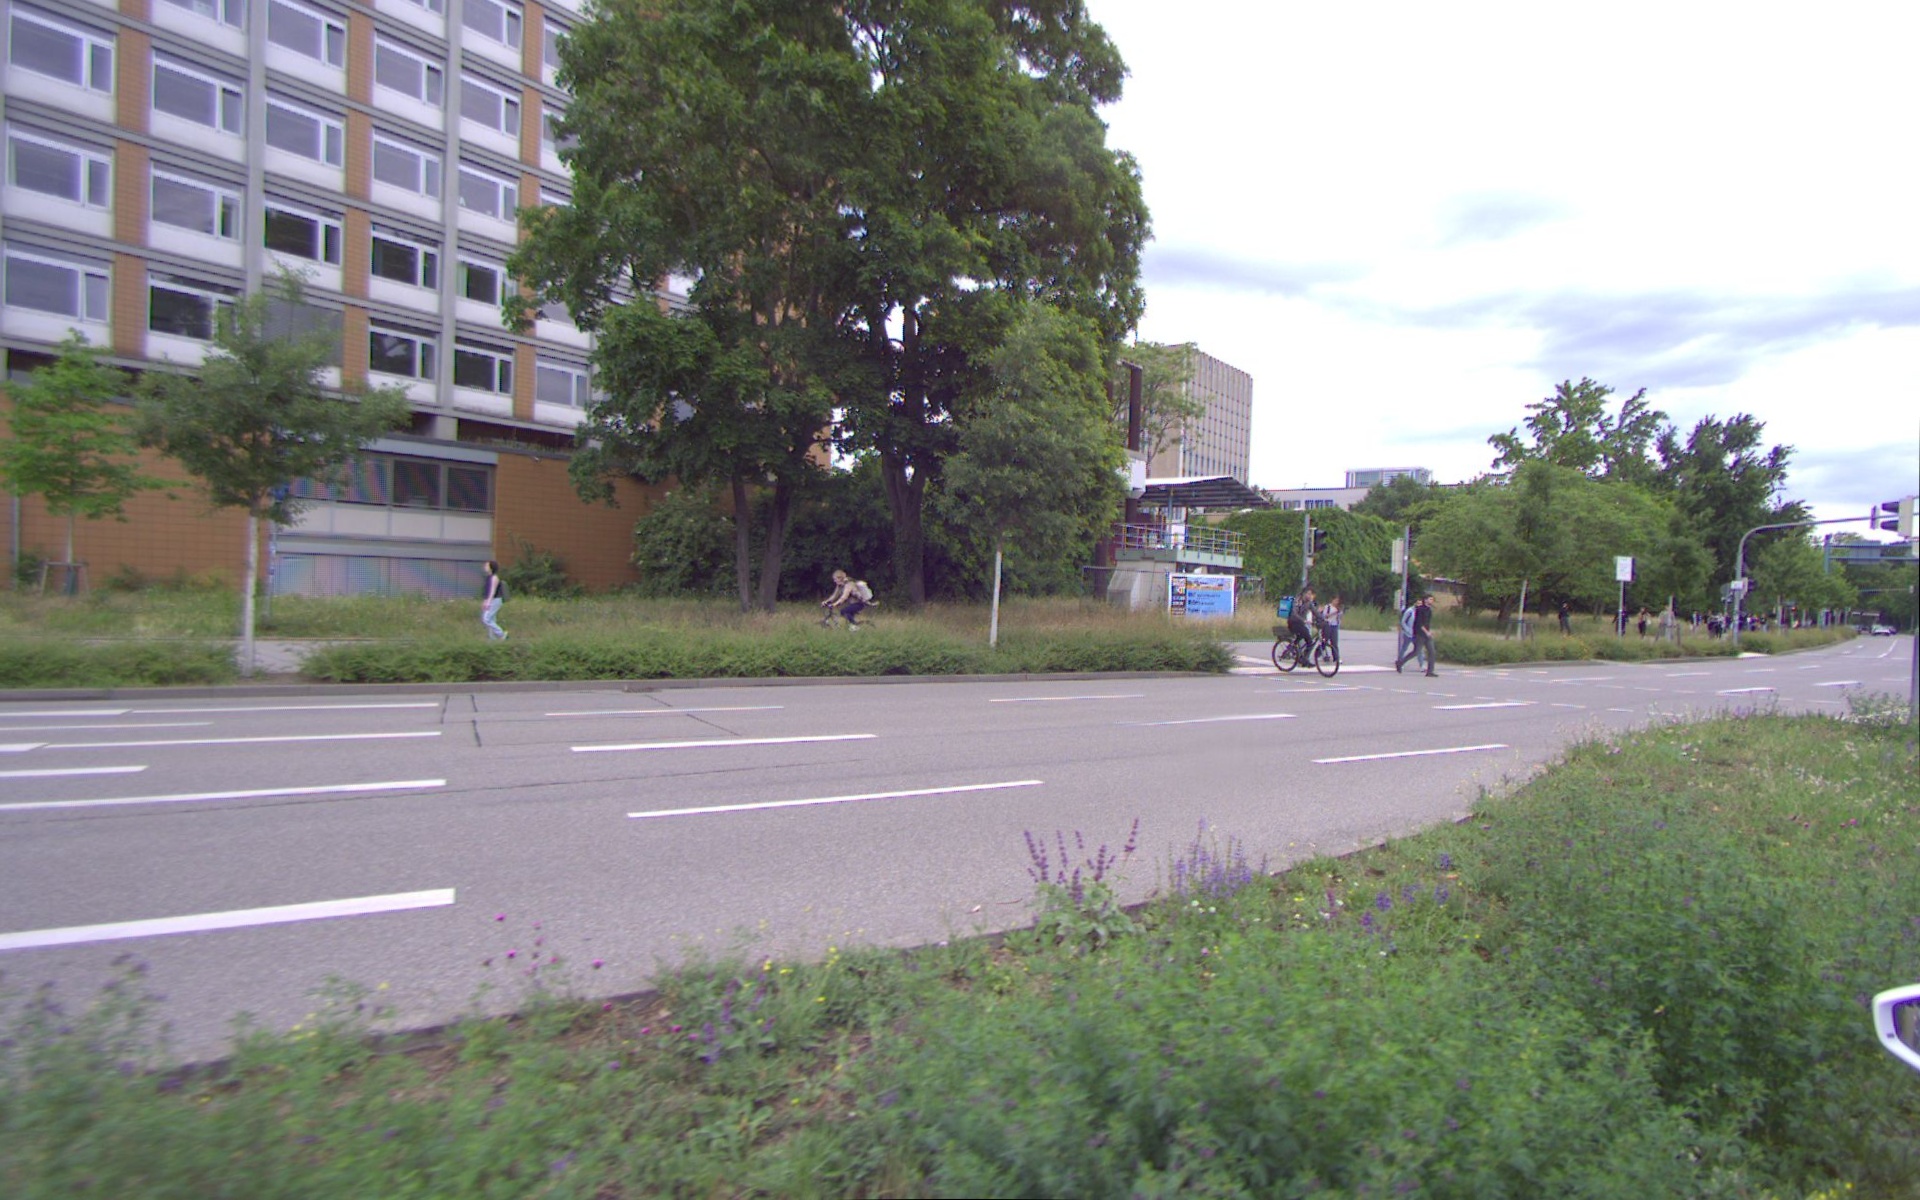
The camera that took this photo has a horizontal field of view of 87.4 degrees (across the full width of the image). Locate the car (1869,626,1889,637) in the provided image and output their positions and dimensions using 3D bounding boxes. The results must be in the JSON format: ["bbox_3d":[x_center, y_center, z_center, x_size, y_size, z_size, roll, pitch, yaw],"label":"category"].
[{"bbox_3d":[131.403,4.514,143.656,1.665,1.435,3.630,2,1,36],"label":"car"}]

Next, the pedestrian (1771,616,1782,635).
[{"bbox_3d":[86.798,2.723,106.756,0.776,2.040,0.716,2,1,-40],"label":"pedestrian"}]

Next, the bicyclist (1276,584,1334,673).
[{"bbox_3d":[7.444,0.602,21.700,0.782,1.869,0.828,1,1,-27],"label":"bicyclist"}]

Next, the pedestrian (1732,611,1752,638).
[{"bbox_3d":[53.111,1.663,68.226,0.909,1.803,1.057,2,1,45],"label":"pedestrian"}]

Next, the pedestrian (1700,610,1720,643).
[{"bbox_3d":[43.159,1.521,57.799,0.751,1.895,0.707,1,1,-41],"label":"pedestrian"}]

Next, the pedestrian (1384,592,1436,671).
[{"bbox_3d":[10.916,0.757,24.400,0.659,1.867,0.889,1,1,-28],"label":"pedestrian"}]

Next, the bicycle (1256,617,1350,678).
[{"bbox_3d":[7.409,1.006,21.770,0.781,1.174,1.893,1,1,-27],"label":"bicycle"}]

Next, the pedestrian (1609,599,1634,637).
[{"bbox_3d":[32.478,0.886,49.321,0.898,1.788,0.749,1,1,-37],"label":"pedestrian"}]

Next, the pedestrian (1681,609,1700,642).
[{"bbox_3d":[42.509,1.474,58.439,0.751,1.895,0.707,1,1,-41],"label":"pedestrian"}]

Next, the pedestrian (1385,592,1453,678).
[{"bbox_3d":[10.327,0.782,22.600,0.855,1.867,1.044,1,1,-28],"label":"pedestrian"}]

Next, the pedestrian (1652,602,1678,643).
[{"bbox_3d":[35.813,1.138,51.017,1.037,2.040,0.749,1,1,-37],"label":"pedestrian"}]

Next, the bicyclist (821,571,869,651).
[{"bbox_3d":[-2.347,0.227,20.459,0.703,1.591,0.712,2,1,-29],"label":"bicyclist"}]

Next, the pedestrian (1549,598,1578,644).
[{"bbox_3d":[27.674,0.955,46.082,1.037,2.040,0.749,1,1,-37],"label":"pedestrian"}]

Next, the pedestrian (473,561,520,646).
[{"bbox_3d":[-8.763,0.069,18.994,0.746,1.562,0.559,2,1,-29],"label":"pedestrian"}]

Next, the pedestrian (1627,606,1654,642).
[{"bbox_3d":[33.049,1.157,48.766,1.037,1.735,0.749,1,1,-37],"label":"pedestrian"}]

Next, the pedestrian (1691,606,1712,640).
[{"bbox_3d":[45.792,1.435,62.026,1.039,2.040,0.748,1,1,-41],"label":"pedestrian"}]

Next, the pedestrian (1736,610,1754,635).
[{"bbox_3d":[59.821,1.682,76.533,0.909,1.803,1.057,3,5,45],"label":"pedestrian"}]

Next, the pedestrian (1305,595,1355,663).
[{"bbox_3d":[9.371,0.725,25.434,0.796,1.671,0.838,1,1,-28],"label":"pedestrian"}]

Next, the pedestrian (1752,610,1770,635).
[{"bbox_3d":[60.466,1.694,75.857,0.909,1.803,1.057,3,5,45],"label":"pedestrian"}]

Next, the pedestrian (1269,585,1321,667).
[{"bbox_3d":[7.911,0.610,23.721,0.757,1.867,0.754,1,2,-28],"label":"pedestrian"}]

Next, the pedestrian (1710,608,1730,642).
[{"bbox_3d":[46.502,1.522,61.442,1.039,2.040,0.748,1,1,-41],"label":"pedestrian"}]

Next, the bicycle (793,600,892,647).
[{"bbox_3d":[-2.388,0.483,20.441,1.860,0.894,0.712,2,1,-29],"label":"bicycle"}]

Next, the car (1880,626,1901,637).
[{"bbox_3d":[161.470,5.415,174.323,1.966,1.804,3.989,2,1,33],"label":"car"}]
